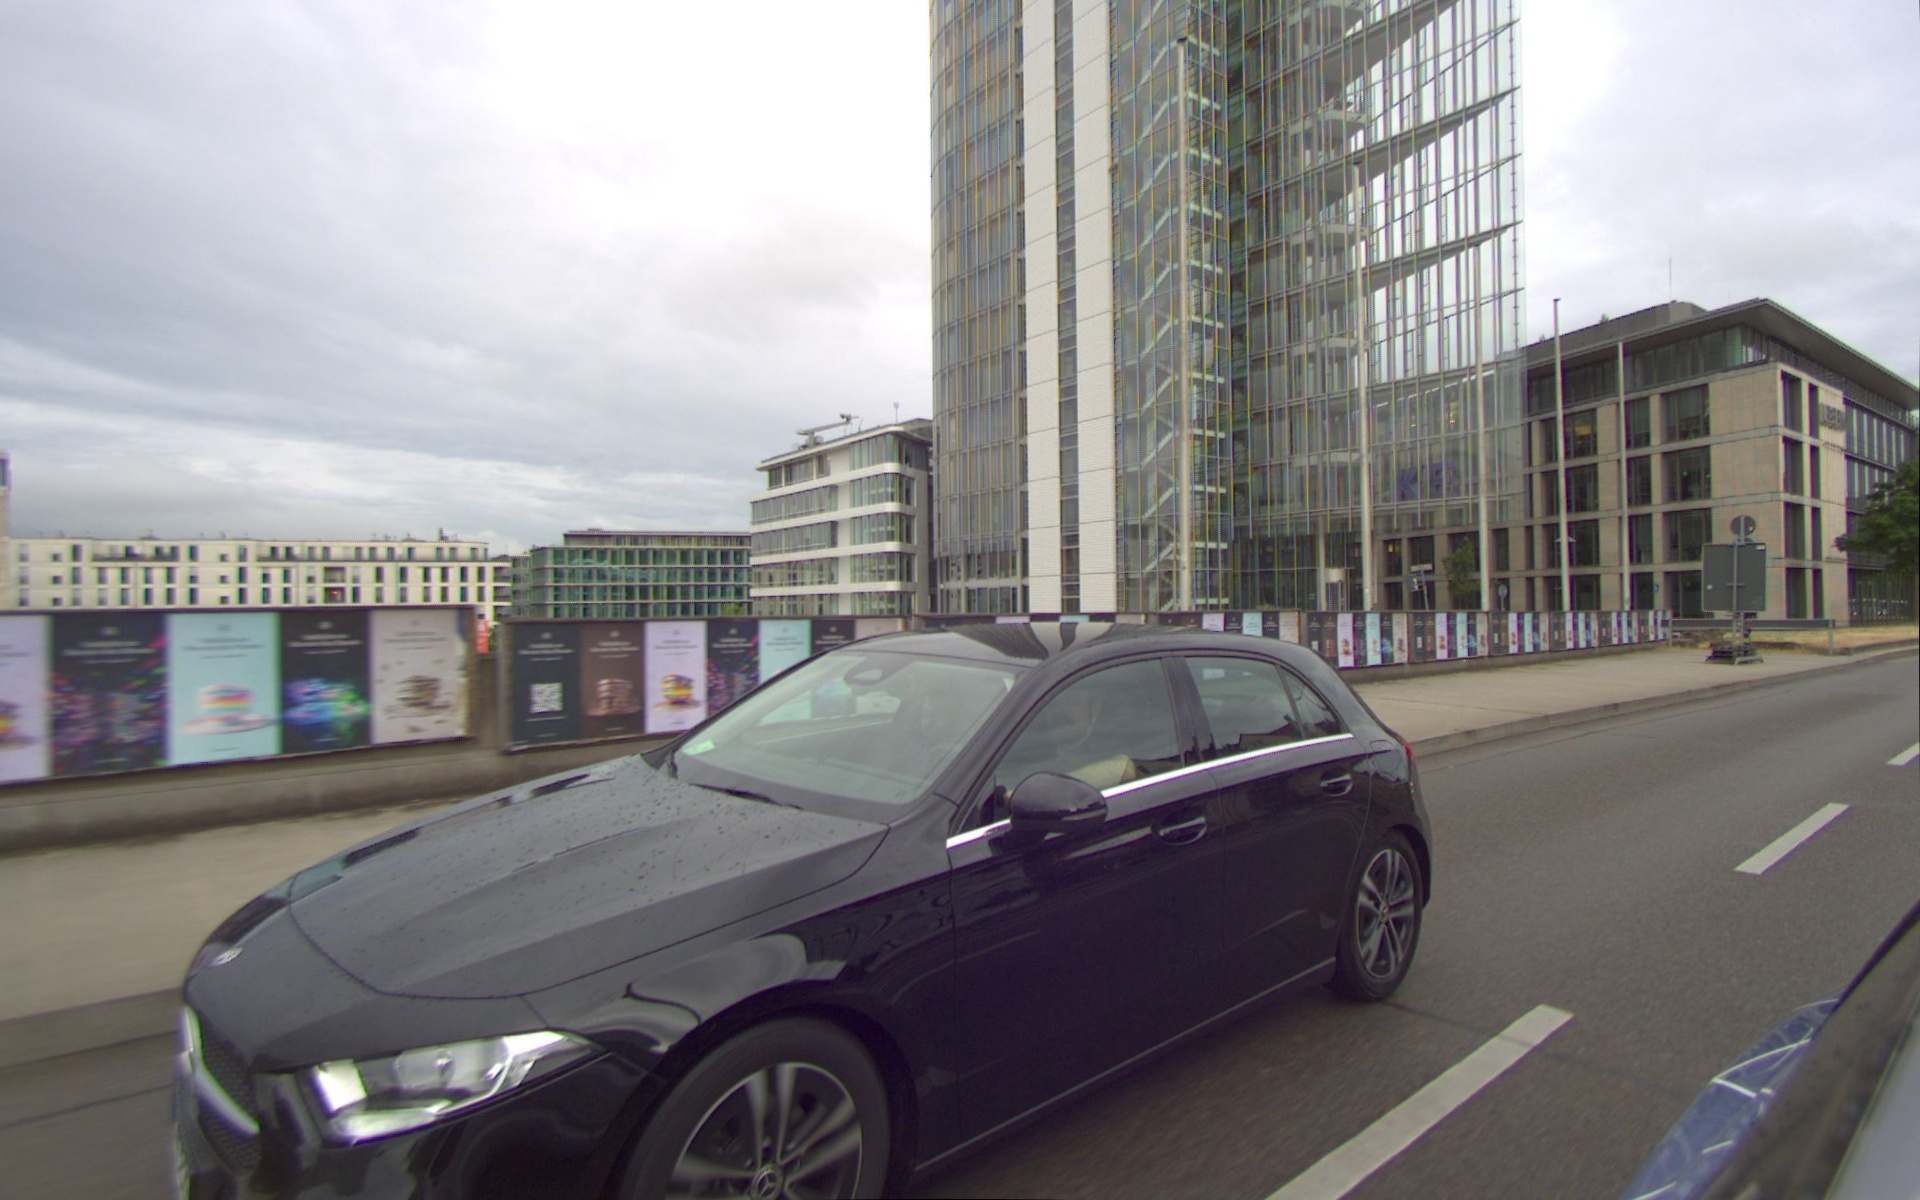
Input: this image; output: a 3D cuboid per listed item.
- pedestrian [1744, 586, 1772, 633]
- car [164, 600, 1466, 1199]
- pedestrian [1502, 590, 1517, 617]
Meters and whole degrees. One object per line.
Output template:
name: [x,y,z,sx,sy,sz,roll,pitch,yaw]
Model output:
pedestrian: [28.336,0.341,35.937,0.537,1.632,0.660,1,-2,-37]
car: [-0.008,0.736,3.400,4.085,1.393,1.725,-1,1,-43]
pedestrian: [37.386,0.236,68.827,0.621,1.767,0.637,-1,0,-17]
